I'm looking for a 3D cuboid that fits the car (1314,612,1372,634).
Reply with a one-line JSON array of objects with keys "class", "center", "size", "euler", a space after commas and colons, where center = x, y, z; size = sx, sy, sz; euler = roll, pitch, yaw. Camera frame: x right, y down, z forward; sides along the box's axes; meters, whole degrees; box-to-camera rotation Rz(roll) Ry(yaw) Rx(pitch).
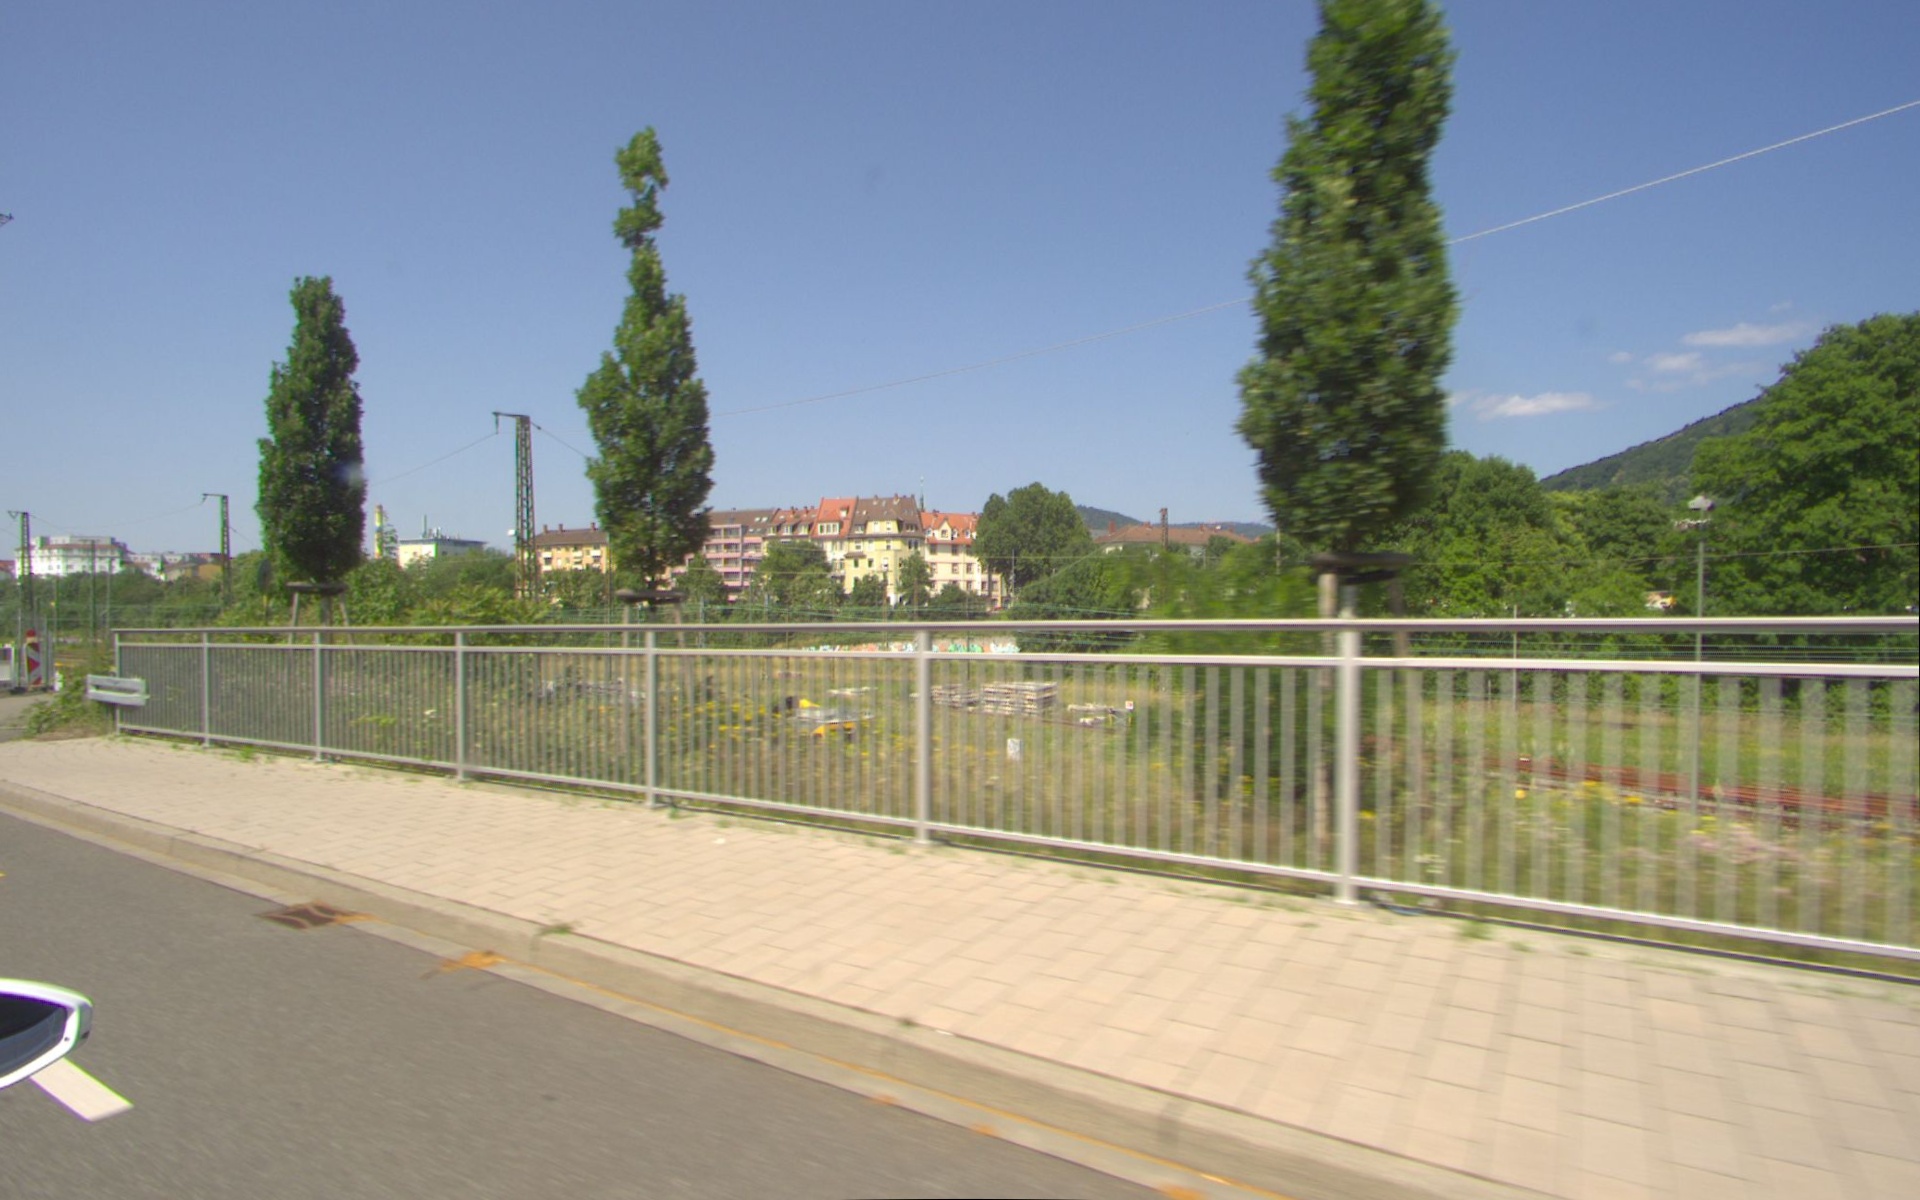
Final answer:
[{"class": "car", "center": [36.969, 2.192, 96.740], "size": [4.931, 2.140, 1.985], "euler": [0, 0, 40]}]
